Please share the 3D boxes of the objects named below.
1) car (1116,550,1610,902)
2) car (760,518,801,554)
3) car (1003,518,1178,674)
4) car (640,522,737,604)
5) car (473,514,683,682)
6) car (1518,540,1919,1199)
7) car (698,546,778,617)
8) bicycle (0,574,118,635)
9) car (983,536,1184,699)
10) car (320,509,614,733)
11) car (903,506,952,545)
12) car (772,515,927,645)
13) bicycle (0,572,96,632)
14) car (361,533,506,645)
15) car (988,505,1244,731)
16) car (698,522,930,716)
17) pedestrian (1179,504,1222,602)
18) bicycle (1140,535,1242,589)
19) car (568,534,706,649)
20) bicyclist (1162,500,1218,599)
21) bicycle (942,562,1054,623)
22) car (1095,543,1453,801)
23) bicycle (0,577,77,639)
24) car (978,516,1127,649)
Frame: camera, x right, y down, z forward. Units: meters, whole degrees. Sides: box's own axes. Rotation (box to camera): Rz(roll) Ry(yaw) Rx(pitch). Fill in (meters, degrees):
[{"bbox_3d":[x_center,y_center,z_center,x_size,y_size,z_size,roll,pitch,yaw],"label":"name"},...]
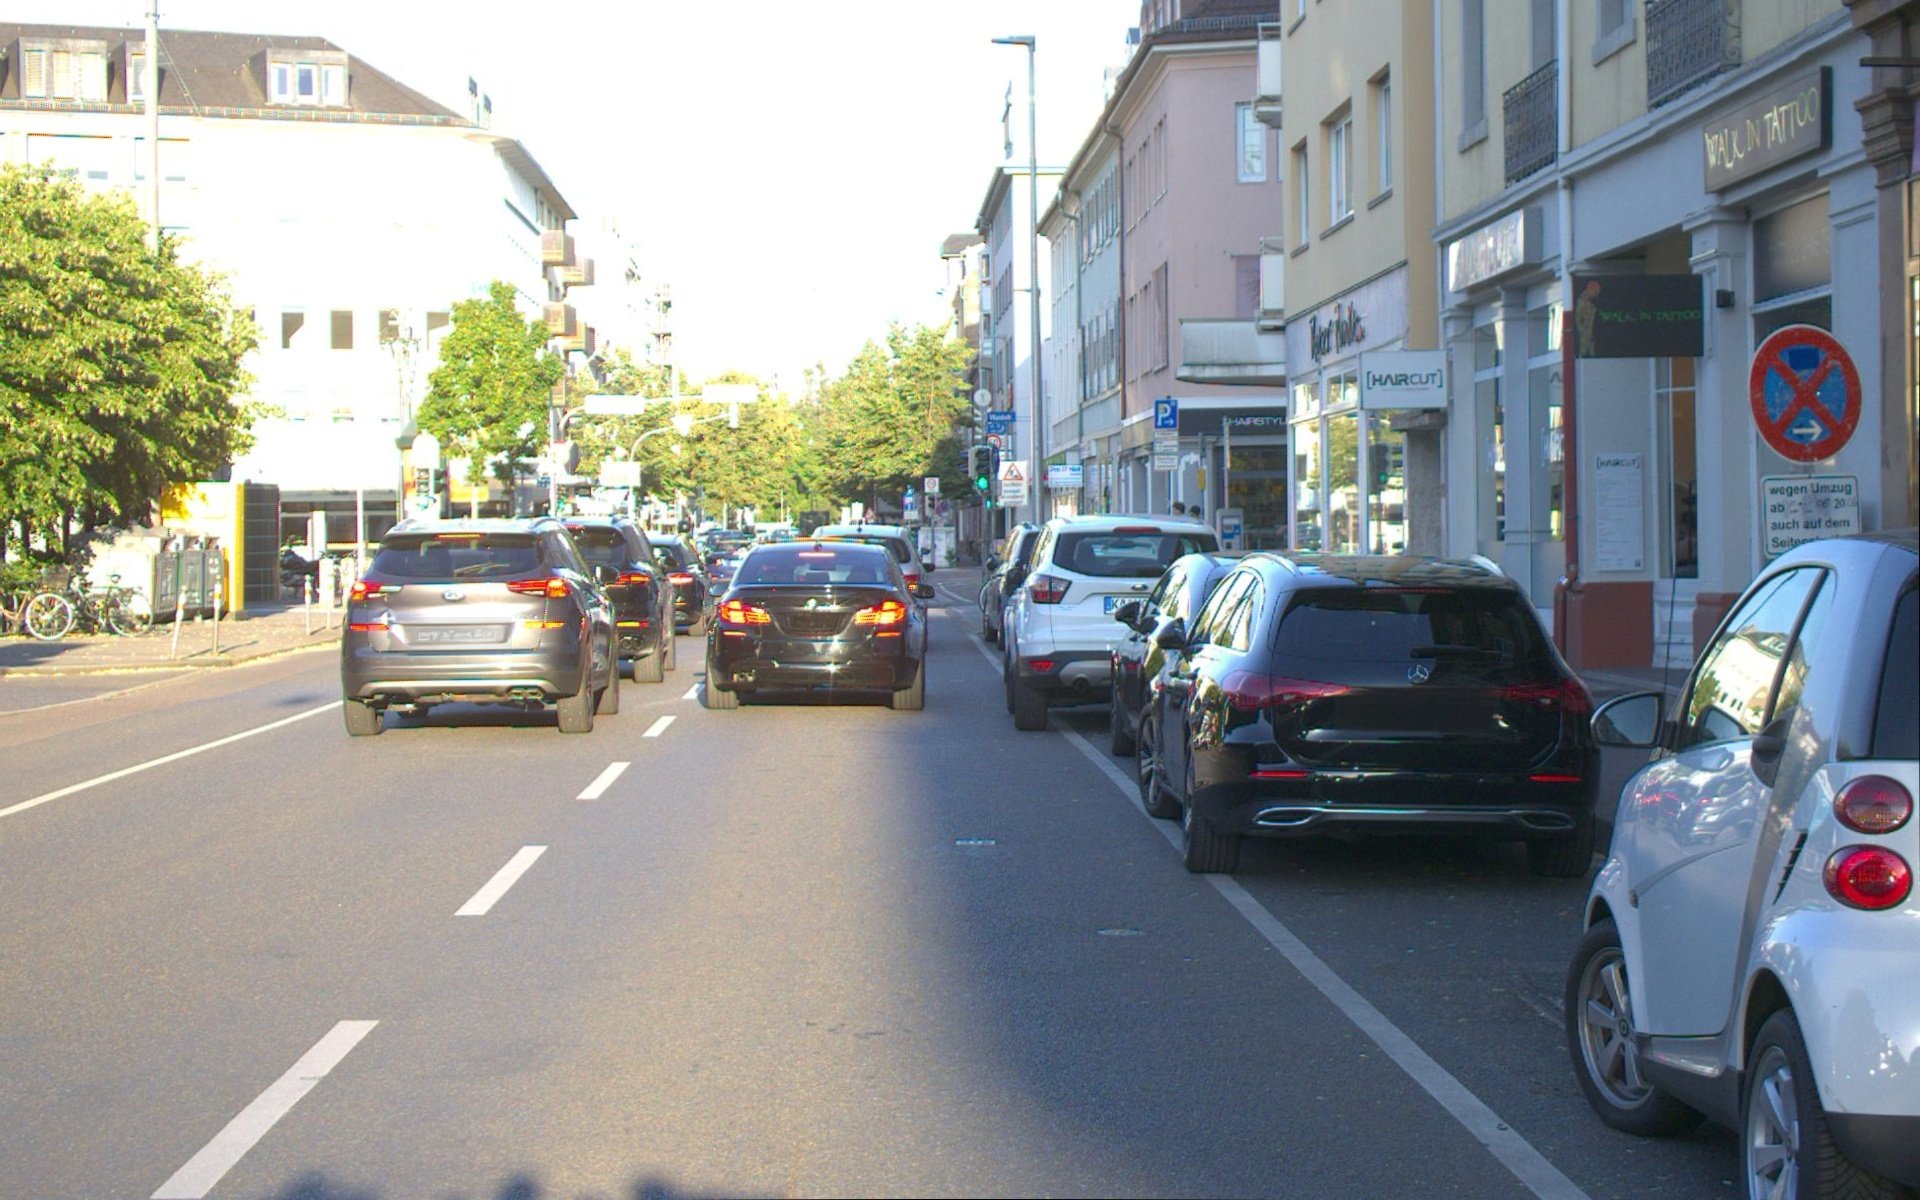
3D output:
[{"bbox_3d":[1.800,0.500,16.731,1.729,1.443,4.525,1,1,-1],"label":"car"},{"bbox_3d":[-7.819,-2.819,150.134,1.779,1.542,4.001,0,1,-3],"label":"car"},{"bbox_3d":[1.440,-0.068,39.118,1.729,1.646,3.829,1,1,-1],"label":"car"},{"bbox_3d":[-5.304,-0.748,67.491,1.779,1.542,4.001,0,1,-3],"label":"car"},{"bbox_3d":[-3.923,-0.063,35.855,1.896,1.644,4.105,0,1,-2],"label":"car"},{"bbox_3d":[2.383,0.637,8.177,1.532,1.531,3.283,1,1,-1],"label":"car"},{"bbox_3d":[-5.124,-0.450,79.587,1.779,1.542,4.001,0,1,-3],"label":"car"},{"bbox_3d":[-13.701,0.062,51.963,1.825,0.850,0.484,2,1,-5],"label":"bicycle"},{"bbox_3d":[1.143,0.130,33.605,1.729,1.445,4.312,1,1,-1],"label":"car"},{"bbox_3d":[-3.830,0.110,27.332,1.896,1.644,4.105,0,1,-2],"label":"car"},{"bbox_3d":[-1.384,-3.182,145.739,1.896,1.575,3.852,-2,2,-2],"label":"car"},{"bbox_3d":[-1.454,-0.295,44.647,1.896,1.575,4.001,1,1,-2],"label":"car"},{"bbox_3d":[-14.274,0.023,52.860,1.825,0.850,0.484,2,1,-5],"label":"bicycle"},{"bbox_3d":[-8.010,-0.196,52.598,1.691,1.547,3.951,-3,2,-2],"label":"car"},{"bbox_3d":[1.183,0.106,27.841,1.729,1.645,4.285,1,1,-1],"label":"car"},{"bbox_3d":[-1.292,0.117,30.466,1.896,1.575,4.001,1,1,-2],"label":"car"},{"bbox_3d":[4.461,-0.877,63.793,0.699,1.805,0.635,0,1,-5],"label":"pedestrian"},{"bbox_3d":[4.155,-0.690,61.907,1.768,0.963,0.490,1,1,26],"label":"bicycle"},{"bbox_3d":[-4.578,-0.154,49.224,1.779,1.542,4.001,0,1,-3],"label":"car"},{"bbox_3d":[4.144,-0.912,61.893,0.832,1.771,0.608,1,1,25],"label":"bicyclist"},{"bbox_3d":[0.616,-0.128,55.240,1.766,0.963,0.490,0,1,4],"label":"bicycle"},{"bbox_3d":[1.888,0.382,21.923,1.729,1.443,4.474,1,1,-1],"label":"car"},{"bbox_3d":[-13.863,0.097,50.156,1.825,0.850,0.484,2,1,-5],"label":"bicycle"},{"bbox_3d":[1.180,-0.248,45.333,1.729,1.646,3.970,1,1,-1],"label":"car"}]
